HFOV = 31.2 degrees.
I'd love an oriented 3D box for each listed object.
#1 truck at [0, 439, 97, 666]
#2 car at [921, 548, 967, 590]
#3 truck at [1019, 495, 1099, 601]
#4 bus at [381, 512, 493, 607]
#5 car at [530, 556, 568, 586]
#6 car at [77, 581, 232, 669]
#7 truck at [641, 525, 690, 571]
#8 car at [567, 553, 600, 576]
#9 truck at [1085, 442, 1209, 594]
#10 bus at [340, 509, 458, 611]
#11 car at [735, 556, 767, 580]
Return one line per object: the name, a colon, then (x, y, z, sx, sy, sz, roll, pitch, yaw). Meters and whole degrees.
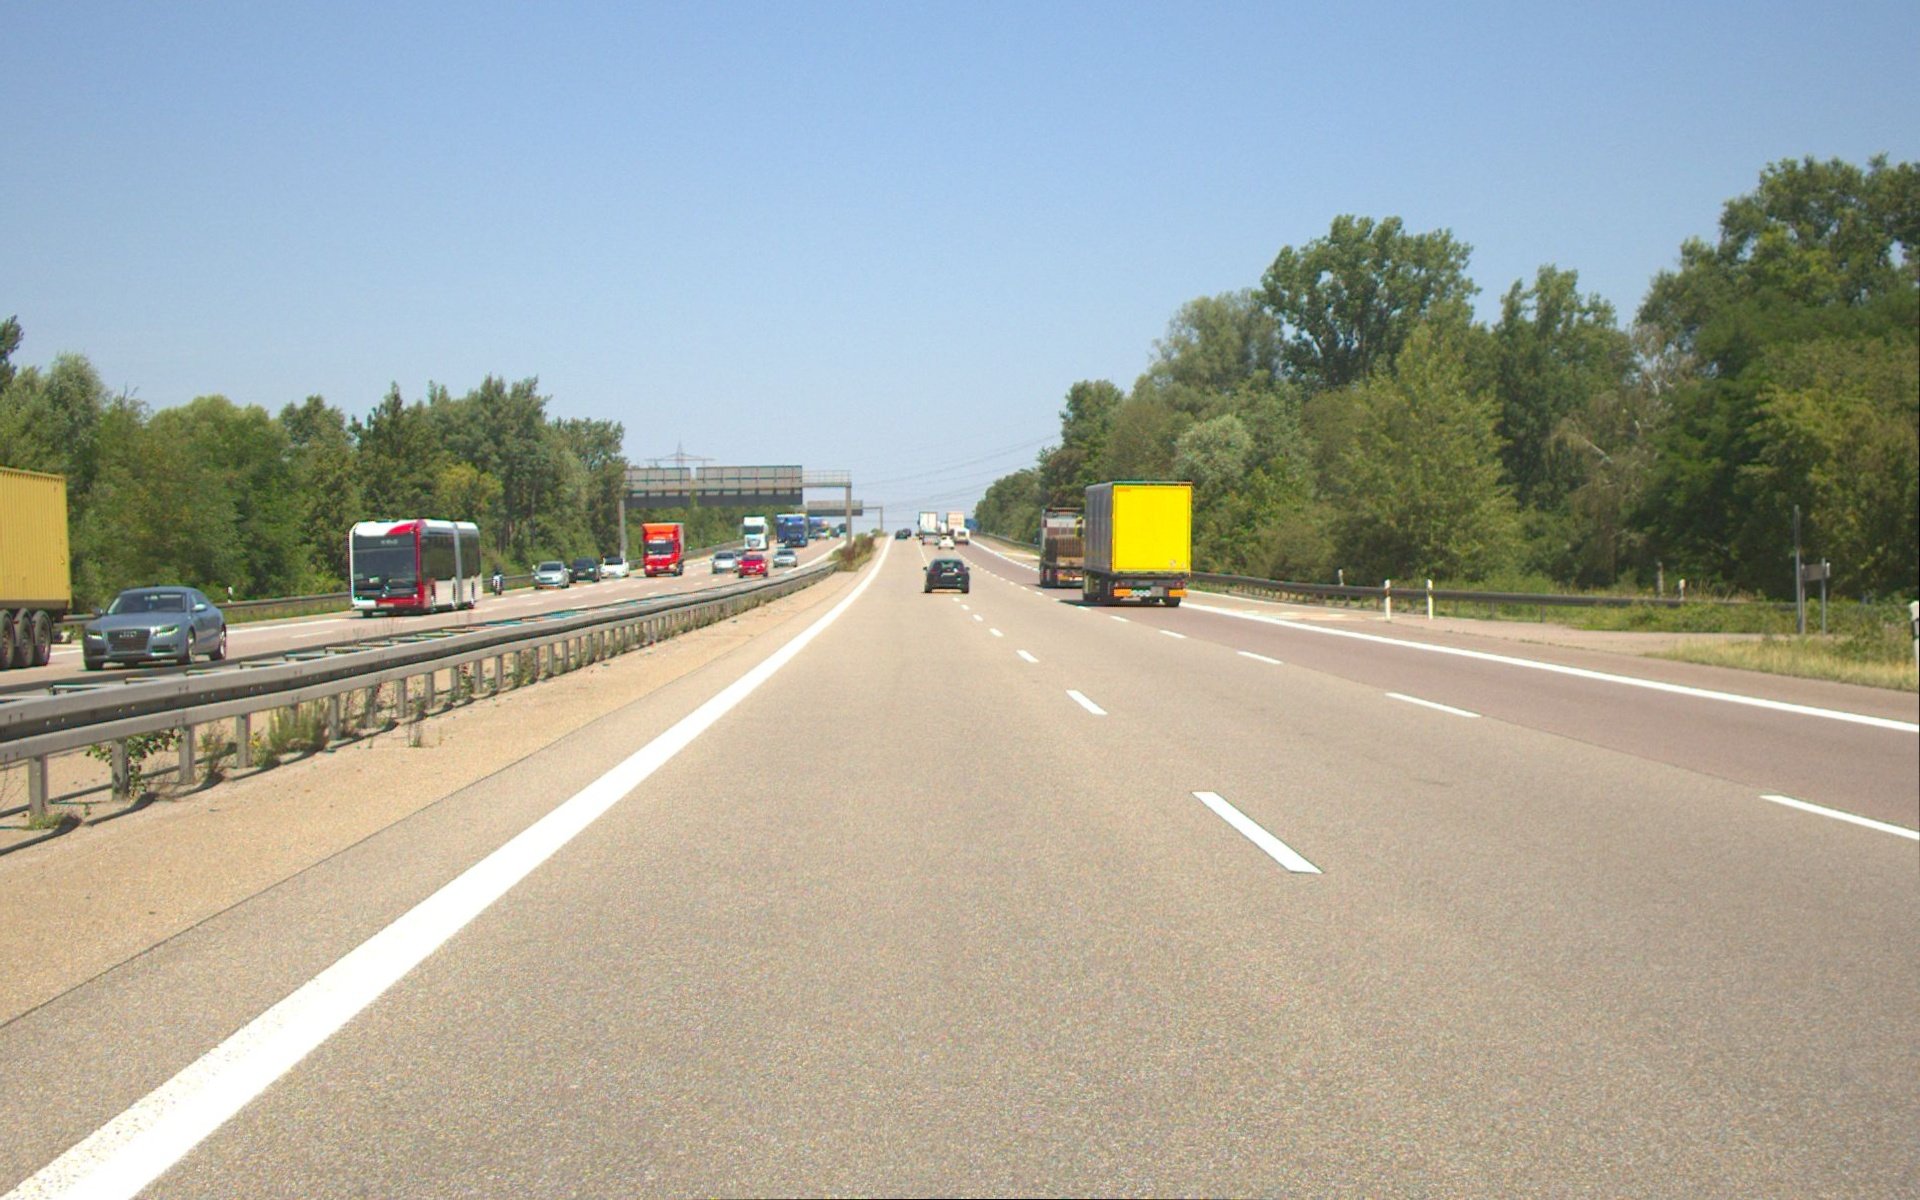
truck: (-18.345, -0.788, 61.383, 2.599, 4.034, 12.693, -3, 1, -1)
car: (-0.693, -1.310, 143.803, 1.827, 1.700, 4.000, 1, 1, -1)
truck: (4.728, -2.506, 166.927, 3.367, 4.864, 15.086, 1, 1, 0)
bus: (-19.932, -1.550, 131.504, 2.763, 3.435, 10.146, -1, 1, -1)
car: (-24.156, -1.717, 202.241, 1.808, 1.766, 4.000, -1, 1, -1)
car: (-14.236, 0.417, 61.005, 1.720, 1.376, 4.787, -4, 0, -2)
truck: (-21.160, -3.712, 247.330, 2.597, 3.201, 12.125, 1, 1, -1)
car: (-25.025, -2.345, 228.653, 1.808, 1.498, 4.000, -1, 1, -1)
truck: (6.277, -2.731, 118.146, 3.377, 4.864, 15.086, 1, 1, 0)
bus: (-19.832, -1.428, 121.954, 2.763, 3.435, 8.932, -1, 1, -1)
car: (-13.279, -2.061, 218.319, 1.808, 1.498, 4.000, -1, 1, -1)
